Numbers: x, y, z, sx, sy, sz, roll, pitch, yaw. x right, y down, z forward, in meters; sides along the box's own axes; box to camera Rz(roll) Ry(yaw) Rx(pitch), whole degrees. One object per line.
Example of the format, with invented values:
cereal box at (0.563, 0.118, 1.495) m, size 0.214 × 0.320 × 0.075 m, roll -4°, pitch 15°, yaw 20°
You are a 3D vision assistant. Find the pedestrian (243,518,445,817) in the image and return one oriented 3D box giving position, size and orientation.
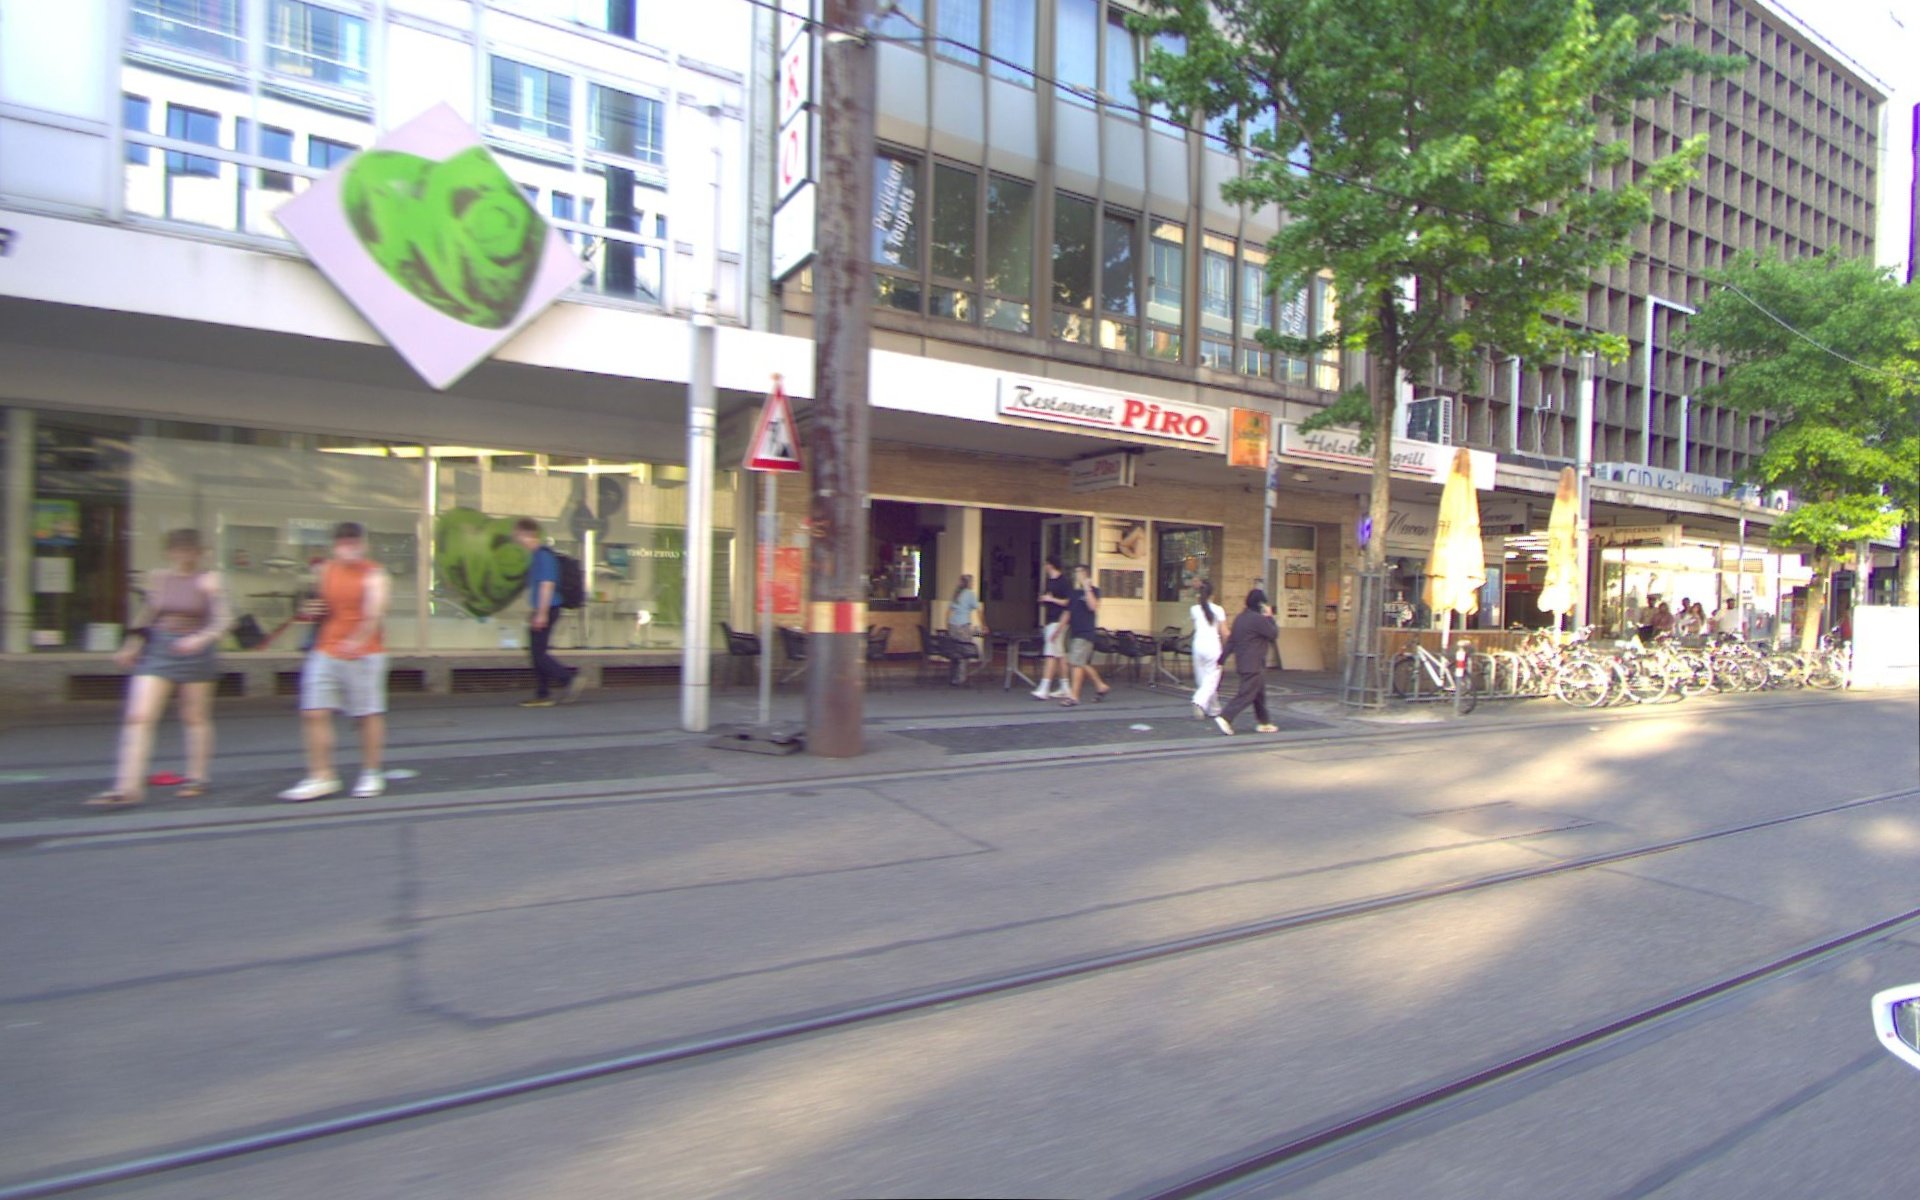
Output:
pedestrian at (-3.879, 0.400, 6.401) m, size 0.820 × 1.764 × 0.850 m, roll 1°, pitch 2°, yaw -10°

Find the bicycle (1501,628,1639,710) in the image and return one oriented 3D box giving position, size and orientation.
bicycle at (9.227, 1.013, 15.270) m, size 0.373 × 1.092 × 1.777 m, roll 1°, pitch 1°, yaw -34°

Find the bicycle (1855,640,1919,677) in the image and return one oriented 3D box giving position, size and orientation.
bicycle at (22.229, 1.389, 23.786) m, size 0.340 × 0.794 × 1.486 m, roll 1°, pitch 1°, yaw -28°

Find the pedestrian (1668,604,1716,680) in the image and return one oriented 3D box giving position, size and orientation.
pedestrian at (16.501, 0.935, 22.642) m, size 0.678 × 1.661 × 0.709 m, roll 1°, pitch 0°, yaw -36°

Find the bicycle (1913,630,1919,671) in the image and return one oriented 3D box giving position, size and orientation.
bicycle at (25.029, 1.311, 25.266) m, size 0.342 × 1.042 × 1.480 m, roll 0°, pitch 2°, yaw -40°

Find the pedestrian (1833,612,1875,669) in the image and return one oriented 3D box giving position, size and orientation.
pedestrian at (28.486, 1.288, 32.019) m, size 0.771 × 1.785 × 0.811 m, roll 1°, pitch 0°, yaw -33°

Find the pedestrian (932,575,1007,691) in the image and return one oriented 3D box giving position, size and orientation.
pedestrian at (0.132, 0.449, 13.945) m, size 0.800 × 1.546 × 0.619 m, roll 1°, pitch 3°, yaw -30°

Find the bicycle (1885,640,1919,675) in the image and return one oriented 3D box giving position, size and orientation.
bicycle at (23.514, 1.425, 24.398) m, size 0.340 × 0.794 × 1.486 m, roll 1°, pitch 1°, yaw -28°

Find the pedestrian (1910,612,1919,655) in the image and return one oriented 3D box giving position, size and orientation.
pedestrian at (38.623, 1.340, 40.097) m, size 0.970 × 1.729 × 0.817 m, roll 1°, pitch 0°, yaw -32°

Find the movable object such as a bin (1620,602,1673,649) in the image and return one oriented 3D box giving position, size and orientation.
movable object such as a bin at (15.623, 0.576, 22.868) m, size 0.972 × 1.053 × 0.709 m, roll 1°, pitch 0°, yaw -37°

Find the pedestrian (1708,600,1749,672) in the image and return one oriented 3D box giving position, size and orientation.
pedestrian at (19.455, 0.892, 25.440) m, size 0.775 × 1.790 × 0.535 m, roll 1°, pitch 0°, yaw 35°

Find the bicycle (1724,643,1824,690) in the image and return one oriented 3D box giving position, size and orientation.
bicycle at (15.948, 1.293, 19.708) m, size 0.340 × 0.794 × 1.486 m, roll 1°, pitch 1°, yaw -28°

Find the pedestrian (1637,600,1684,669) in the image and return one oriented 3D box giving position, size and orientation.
pedestrian at (16.288, 0.793, 23.373) m, size 0.678 × 1.568 × 0.709 m, roll 1°, pitch 0°, yaw -36°

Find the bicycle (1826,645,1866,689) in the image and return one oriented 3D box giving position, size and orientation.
bicycle at (17.604, 1.322, 19.954) m, size 1.393 × 0.794 × 0.341 m, roll 1°, pitch 2°, yaw -39°

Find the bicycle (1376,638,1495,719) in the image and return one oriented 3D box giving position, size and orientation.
bicycle at (6.469, 1.043, 13.745) m, size 0.372 × 0.943 × 1.591 m, roll 1°, pitch 1°, yaw -23°

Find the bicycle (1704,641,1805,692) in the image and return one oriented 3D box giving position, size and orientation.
bicycle at (15.329, 1.261, 19.416) m, size 0.340 × 0.852 × 1.486 m, roll 1°, pitch 1°, yaw -28°

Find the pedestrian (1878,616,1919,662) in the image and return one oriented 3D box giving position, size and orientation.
pedestrian at (33.313, 1.355, 35.434) m, size 0.993 × 1.583 × 0.981 m, roll 1°, pitch 0°, yaw 9°

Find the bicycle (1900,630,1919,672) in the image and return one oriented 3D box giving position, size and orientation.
bicycle at (24.592, 1.310, 25.158) m, size 0.342 × 1.023 × 1.480 m, roll 0°, pitch 2°, yaw -40°

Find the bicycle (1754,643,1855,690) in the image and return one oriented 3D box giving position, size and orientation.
bicycle at (16.631, 1.302, 19.808) m, size 0.340 × 0.794 × 1.486 m, roll 1°, pitch 1°, yaw -28°

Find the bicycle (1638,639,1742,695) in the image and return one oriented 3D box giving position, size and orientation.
bicycle at (13.272, 1.204, 18.293) m, size 0.341 × 0.888 × 1.482 m, roll 1°, pitch 1°, yaw -36°

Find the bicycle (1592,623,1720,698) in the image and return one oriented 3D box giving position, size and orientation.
bicycle at (12.145, 1.029, 17.594) m, size 0.372 × 1.156 × 1.838 m, roll 1°, pitch 1°, yaw -28°

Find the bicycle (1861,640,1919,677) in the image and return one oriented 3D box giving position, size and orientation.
bicycle at (22.530, 1.398, 23.965) m, size 0.340 × 0.794 × 1.486 m, roll 1°, pitch 1°, yaw -28°

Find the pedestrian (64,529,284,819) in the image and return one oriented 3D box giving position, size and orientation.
pedestrian at (-4.823, 0.423, 6.229) m, size 0.748 × 1.660 × 0.850 m, roll 1°, pitch 2°, yaw -10°

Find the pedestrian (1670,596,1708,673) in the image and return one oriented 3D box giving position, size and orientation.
pedestrian at (17.377, 0.804, 23.949) m, size 0.704 × 1.790 × 0.682 m, roll 1°, pitch 0°, yaw 35°

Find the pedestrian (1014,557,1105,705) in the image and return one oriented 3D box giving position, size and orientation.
pedestrian at (1.283, 0.382, 12.936) m, size 0.922 × 1.828 × 0.619 m, roll 1°, pitch 3°, yaw -30°

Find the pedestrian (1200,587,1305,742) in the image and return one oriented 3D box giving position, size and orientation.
pedestrian at (3.129, 0.666, 10.763) m, size 0.842 × 1.571 × 0.619 m, roll 1°, pitch 3°, yaw -30°

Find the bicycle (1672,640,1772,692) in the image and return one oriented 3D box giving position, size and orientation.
bicycle at (14.392, 1.236, 19.007) m, size 0.340 × 0.852 × 1.486 m, roll 1°, pitch 1°, yaw -28°

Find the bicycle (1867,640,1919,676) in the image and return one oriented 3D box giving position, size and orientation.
bicycle at (22.837, 1.405, 24.143) m, size 0.340 × 0.794 × 1.486 m, roll 1°, pitch 1°, yaw -28°

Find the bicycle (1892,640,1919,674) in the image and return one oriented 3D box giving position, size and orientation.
bicycle at (23.842, 1.425, 24.558) m, size 0.340 × 0.794 × 1.486 m, roll 1°, pitch 1°, yaw -28°

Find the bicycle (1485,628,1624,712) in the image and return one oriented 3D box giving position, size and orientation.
bicycle at (8.847, 1.013, 15.017) m, size 0.373 × 1.092 × 1.777 m, roll 1°, pitch 1°, yaw -34°

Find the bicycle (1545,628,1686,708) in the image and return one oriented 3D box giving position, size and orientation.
bicycle at (10.335, 1.043, 15.904) m, size 0.373 × 1.092 × 1.835 m, roll 1°, pitch 1°, yaw -34°

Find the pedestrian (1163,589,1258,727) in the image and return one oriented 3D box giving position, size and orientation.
pedestrian at (2.921, 0.657, 11.737) m, size 0.823 × 1.529 × 0.619 m, roll 1°, pitch 3°, yaw -30°

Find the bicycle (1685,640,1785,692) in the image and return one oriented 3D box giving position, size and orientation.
bicycle at (14.747, 1.245, 19.154) m, size 0.340 × 0.852 × 1.486 m, roll 1°, pitch 1°, yaw -28°

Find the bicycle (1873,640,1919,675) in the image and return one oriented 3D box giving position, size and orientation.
bicycle at (23.146, 1.410, 24.319) m, size 0.340 × 0.794 × 1.486 m, roll 1°, pitch 1°, yaw -28°

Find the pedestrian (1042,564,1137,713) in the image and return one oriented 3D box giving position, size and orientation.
pedestrian at (1.596, 0.457, 12.414) m, size 0.922 × 1.771 × 0.619 m, roll 1°, pitch 3°, yaw -30°

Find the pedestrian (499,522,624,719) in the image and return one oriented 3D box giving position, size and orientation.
pedestrian at (-4.185, 0.190, 10.528) m, size 1.060 × 1.949 × 0.795 m, roll 0°, pitch 3°, yaw -34°
